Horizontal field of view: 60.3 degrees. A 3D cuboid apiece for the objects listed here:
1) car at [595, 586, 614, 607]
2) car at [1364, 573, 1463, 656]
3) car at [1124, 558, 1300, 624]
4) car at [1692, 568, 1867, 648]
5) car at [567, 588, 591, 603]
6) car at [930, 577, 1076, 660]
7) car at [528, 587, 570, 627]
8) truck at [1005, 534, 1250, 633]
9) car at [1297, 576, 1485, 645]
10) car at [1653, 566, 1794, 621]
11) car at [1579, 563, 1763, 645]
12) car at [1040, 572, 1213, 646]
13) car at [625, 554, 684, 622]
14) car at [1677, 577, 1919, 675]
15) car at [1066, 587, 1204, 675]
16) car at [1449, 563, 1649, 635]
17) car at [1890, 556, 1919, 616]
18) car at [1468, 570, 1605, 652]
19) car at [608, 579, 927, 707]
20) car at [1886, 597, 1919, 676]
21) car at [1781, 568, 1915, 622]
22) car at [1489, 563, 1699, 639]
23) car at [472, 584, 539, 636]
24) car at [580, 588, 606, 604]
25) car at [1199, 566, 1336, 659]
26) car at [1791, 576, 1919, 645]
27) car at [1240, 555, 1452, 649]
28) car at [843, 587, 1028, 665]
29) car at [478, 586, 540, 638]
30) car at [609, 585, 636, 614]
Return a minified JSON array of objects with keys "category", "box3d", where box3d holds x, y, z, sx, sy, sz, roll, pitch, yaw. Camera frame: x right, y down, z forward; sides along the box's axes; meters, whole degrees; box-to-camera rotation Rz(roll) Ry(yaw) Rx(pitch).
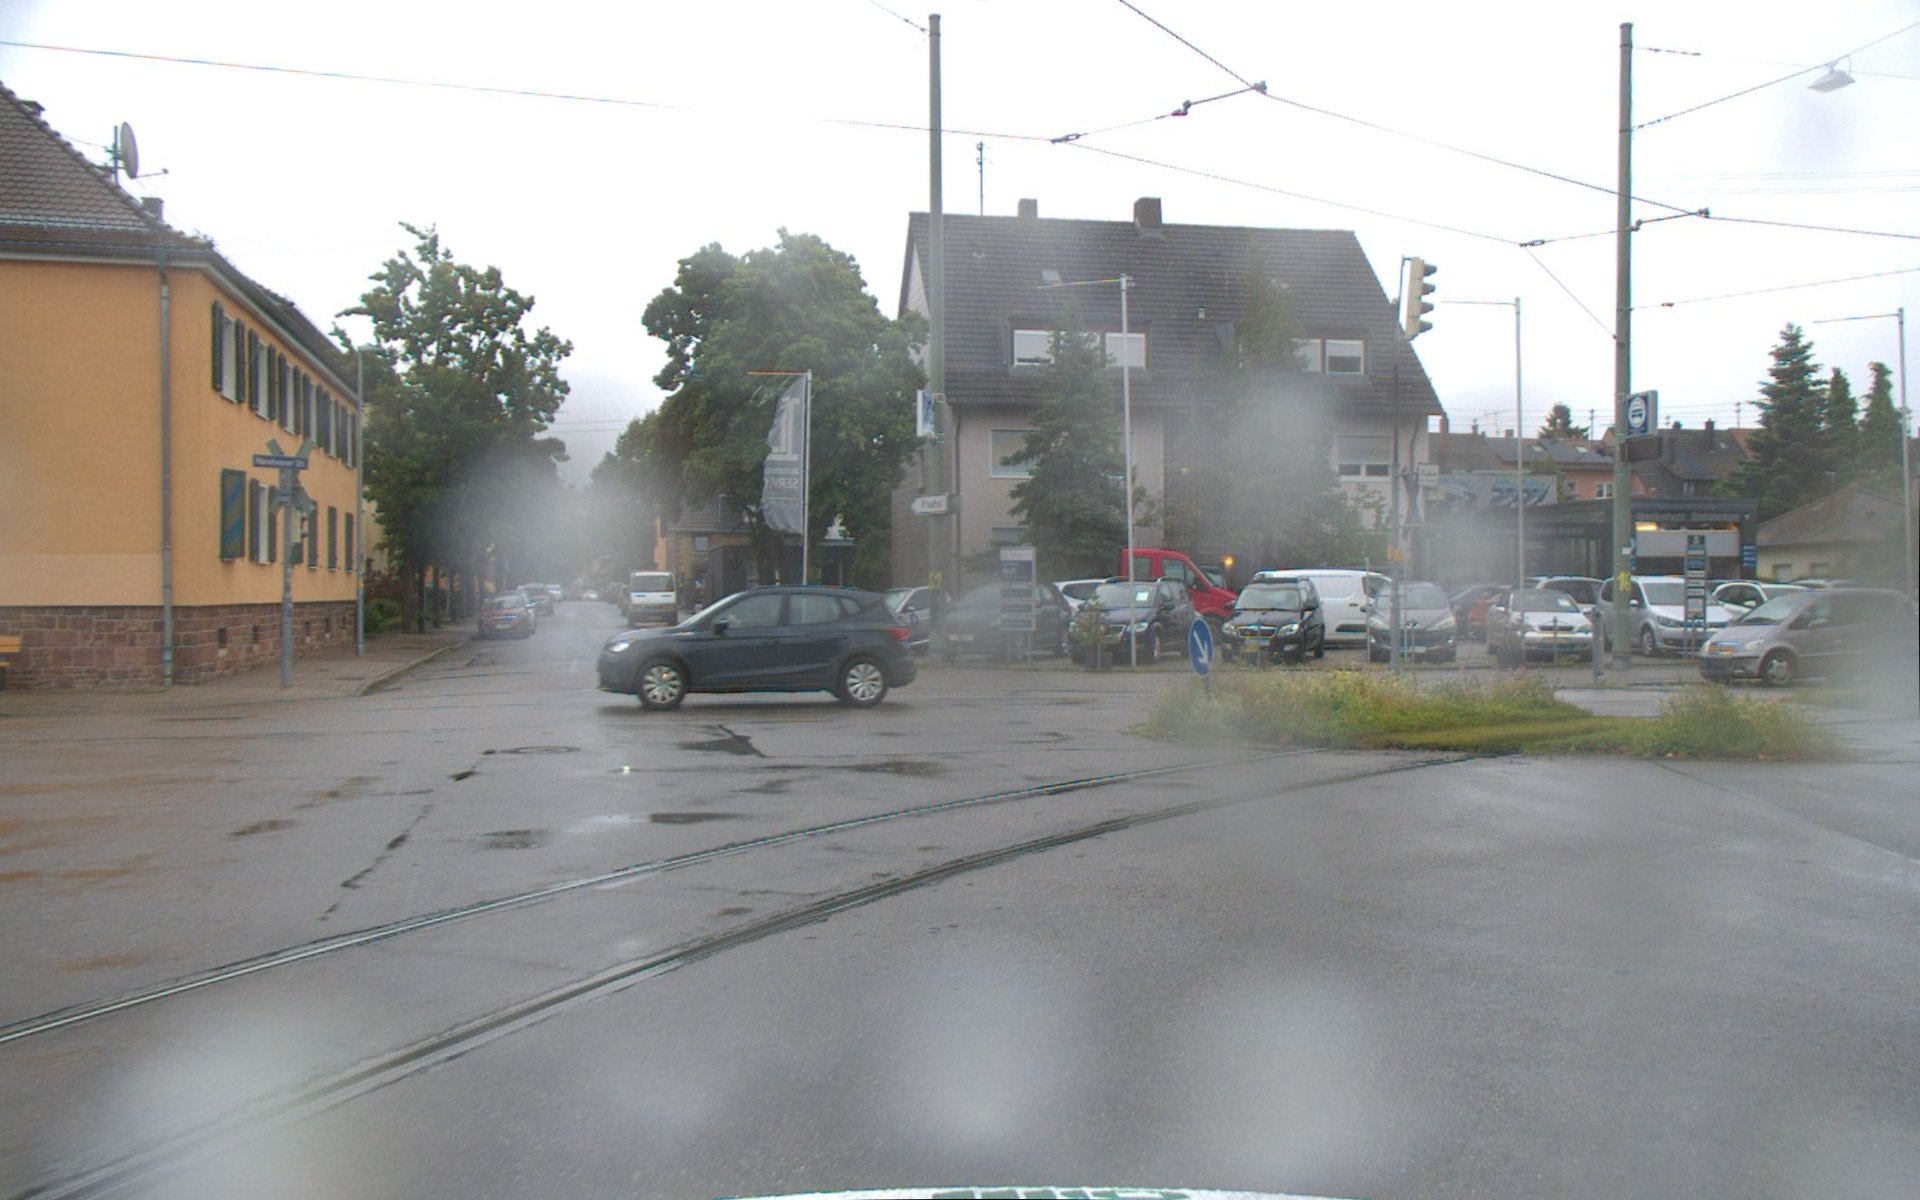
[{"category":"car","box3d":[-35.919,-0.320,167.072,1.797,2.049,3.987,2,0,-13]},{"category":"car","box3d":[9.298,0.292,33.717,1.789,1.530,4.060,2,0,17]},{"category":"car","box3d":[6.825,-0.246,45.098,4.350,1.717,1.996,-1,-1,-9]},{"category":"car","box3d":[17.696,0.169,35.886,1.685,1.600,3.611,2,0,-7]},{"category":"car","box3d":[-43.720,-0.524,189.649,1.807,1.727,3.996,2,0,-27]},{"category":"car","box3d":[0.954,0.341,33.997,1.765,1.606,3.872,-1,0,21]},{"category":"car","box3d":[-22.005,0.381,88.683,1.958,2.049,3.989,2,0,-11]},{"category":"truck","box3d":[4.216,-0.389,41.466,5.953,2.312,2.002,-1,-1,9]},{"category":"car","box3d":[11.324,0.268,43.604,4.350,1.717,1.996,-1,-1,-9]},{"category":"car","box3d":[22.844,-0.193,49.631,1.751,1.524,3.986,2,0,-13]},{"category":"car","box3d":[14.930,0.065,34.937,1.769,1.606,3.863,-1,0,-9]},{"category":"car","box3d":[3.905,0.219,38.503,3.881,1.626,2.002,-1,-1,9]},{"category":"car","box3d":[-12.485,-0.472,67.484,2.116,2.617,4.119,2,0,-13]},{"category":"car","box3d":[14.288,0.435,27.995,3.565,1.530,1.719,2,0,-9]},{"category":"car","box3d":[3.557,0.576,33.040,1.765,1.606,3.872,-1,0,21]},{"category":"car","box3d":[14.845,-0.026,41.797,4.350,1.717,1.996,-1,-1,-9]},{"category":"car","box3d":[27.949,-0.398,45.998,4.344,1.608,1.844,0,-1,-33]},{"category":"car","box3d":[11.820,0.221,34.177,1.789,1.530,4.061,2,0,6]},{"category":"car","box3d":[-2.542,0.512,21.386,3.917,1.502,1.994,-1,0,-13]},{"category":"car","box3d":[18.658,0.689,28.798,4.295,1.362,1.719,2,0,-10]},{"category":"car","box3d":[27.540,-0.145,51.275,4.391,1.608,1.774,0,-1,-33]},{"category":"car","box3d":[15.047,0.017,39.333,4.350,1.717,1.757,-1,-1,-9]},{"category":"car","box3d":[-14.963,0.334,54.595,1.959,1.646,3.987,0,0,-13]},{"category":"car","box3d":[-41.001,-0.451,184.670,1.807,1.727,3.996,2,0,-27]},{"category":"car","box3d":[6.233,0.232,33.188,1.952,1.747,4.000,-1,0,21]},{"category":"car","box3d":[20.257,0.230,36.370,1.685,1.420,3.836,2,0,-7]},{"category":"car","box3d":[8.906,0.047,38.359,4.350,2.049,1.996,-1,-1,-9]},{"category":"car","box3d":[-0.545,0.556,37.390,3.820,1.606,1.789,-1,0,-31]},{"category":"car","box3d":[-16.123,0.415,59.244,1.959,1.780,3.987,0,0,-13]},{"category":"car","box3d":[-25.048,-0.051,122.792,1.797,2.049,3.987,2,0,-13]}]
